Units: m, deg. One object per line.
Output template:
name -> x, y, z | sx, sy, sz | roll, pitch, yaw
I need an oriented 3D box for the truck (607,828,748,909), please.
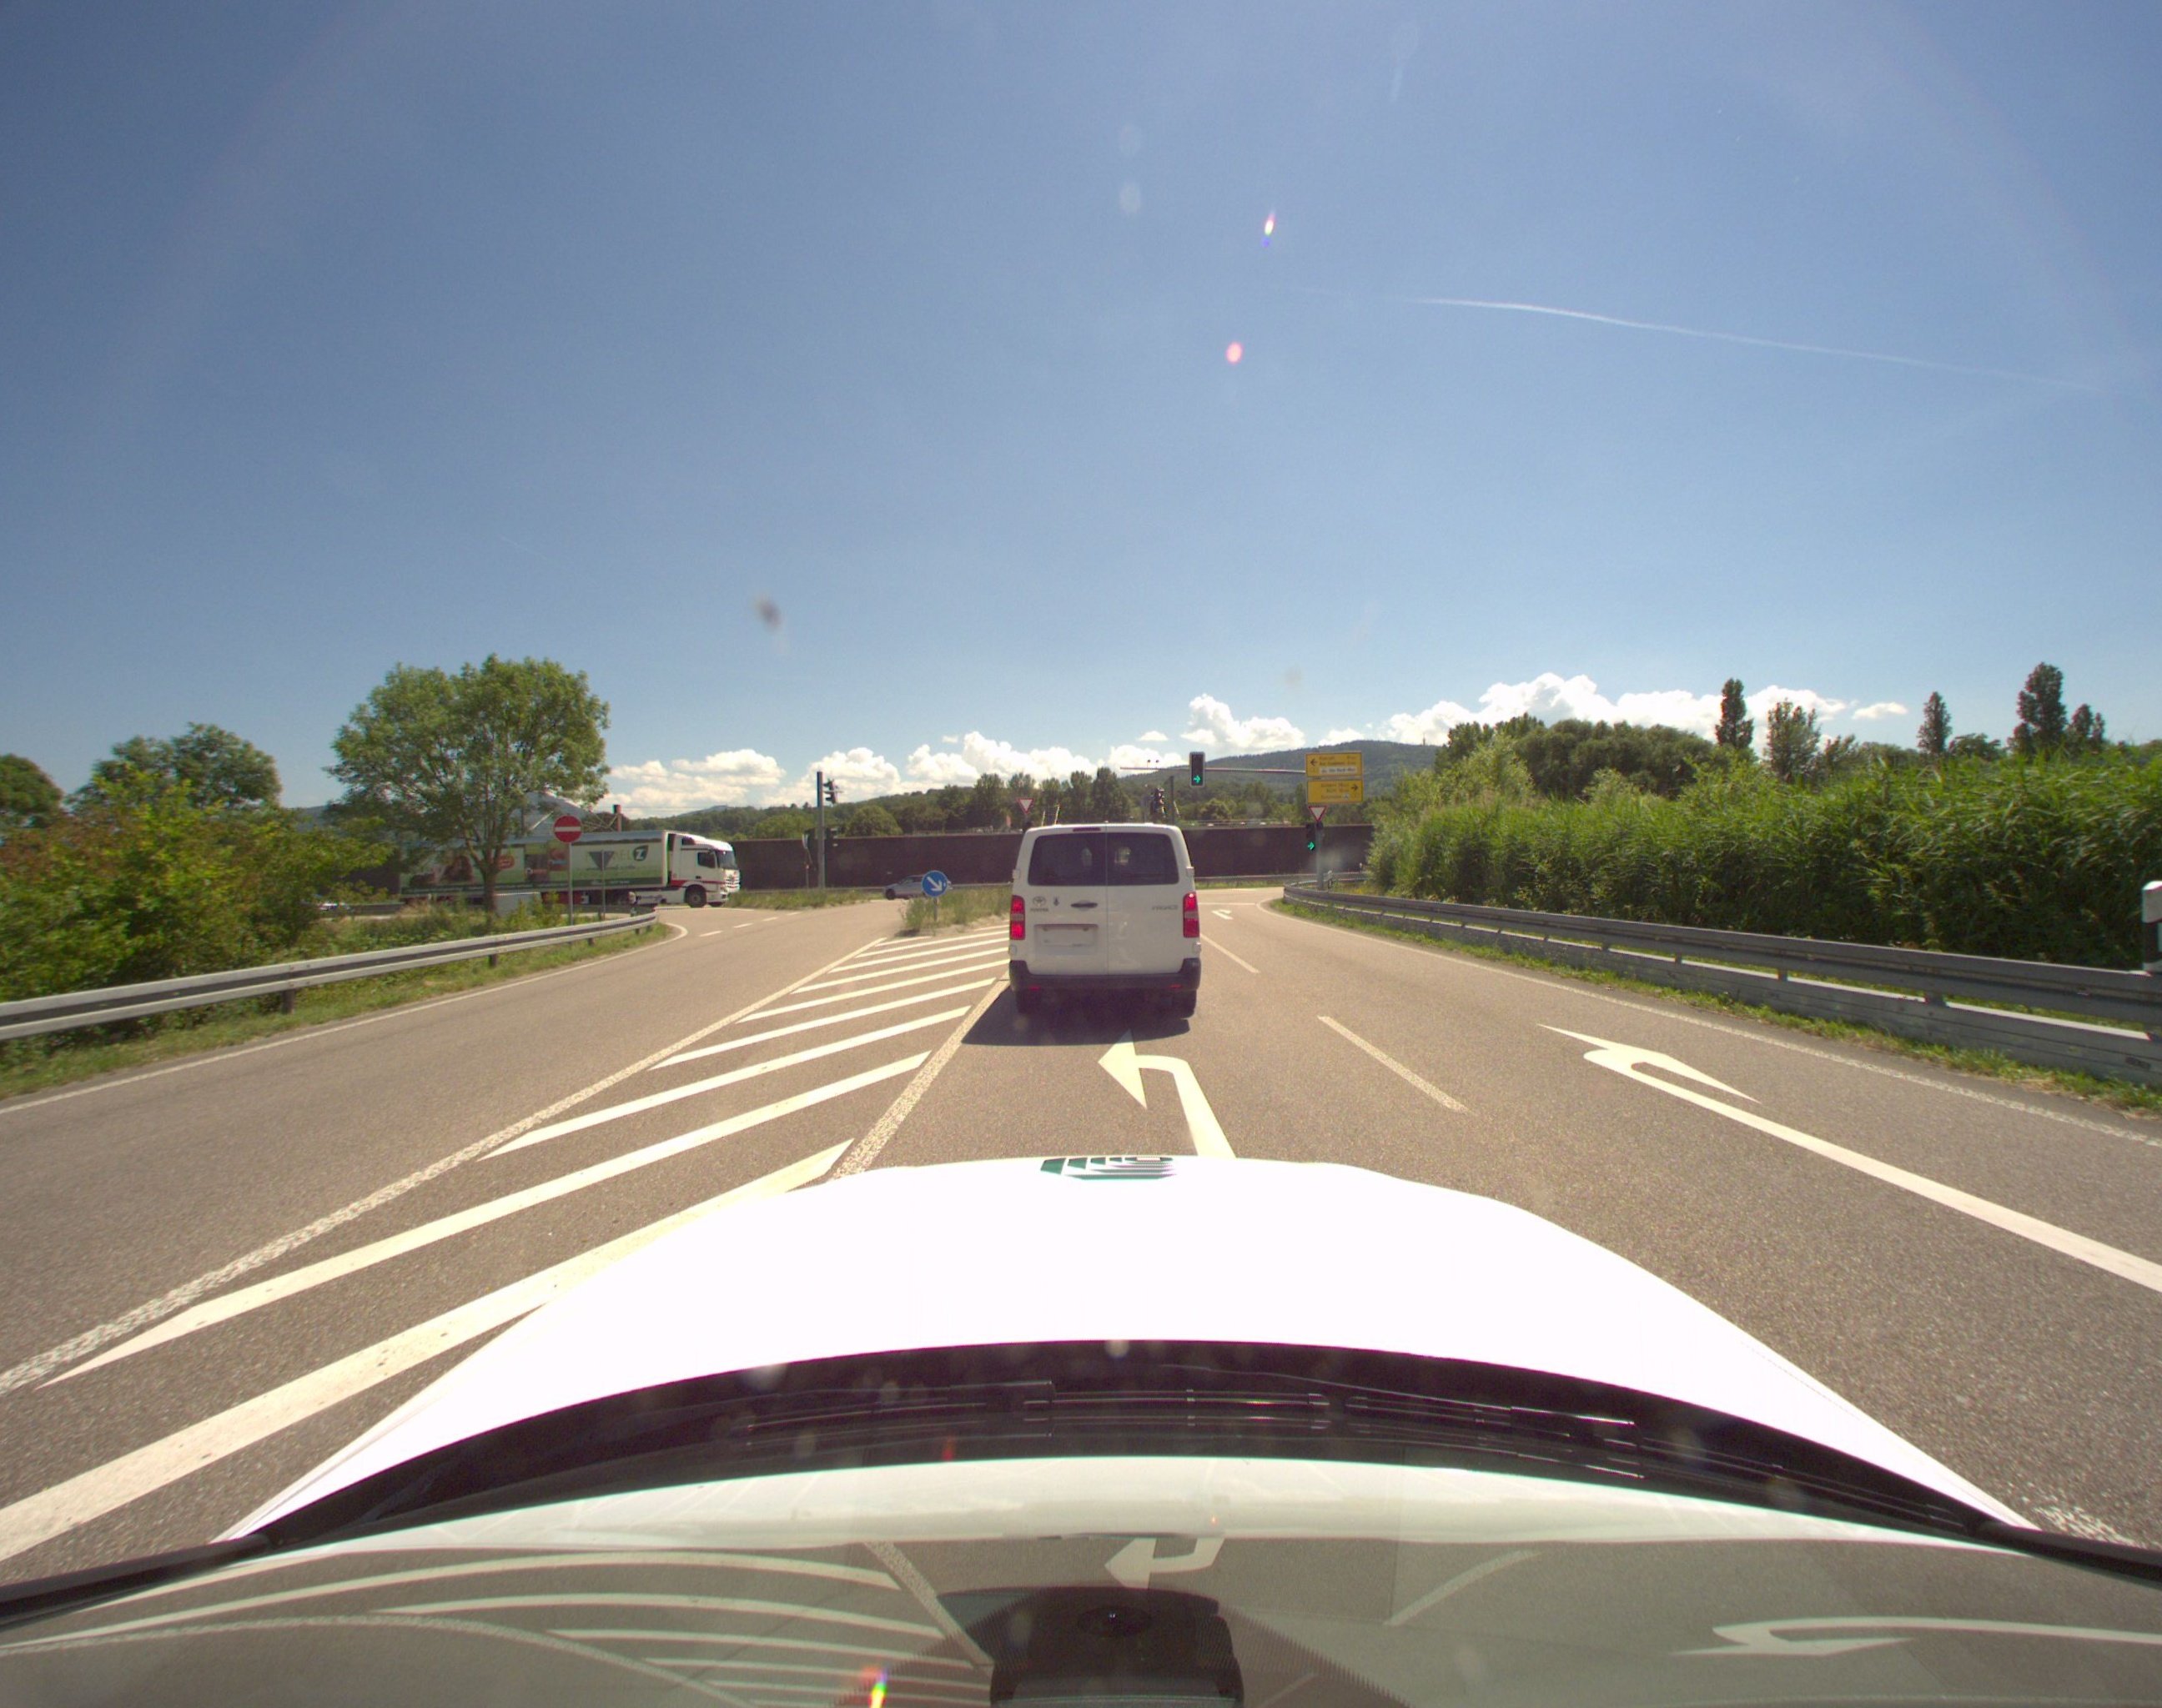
truck -> -20.966, 0.752, 42.585 | 5.746, 3.954, 3.062 | -1, -1, 0

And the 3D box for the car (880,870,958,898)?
car -> -9.318, 1.709, 46.903 | 3.951, 1.552, 2.011 | -1, -1, 23

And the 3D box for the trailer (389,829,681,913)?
trailer -> -28.224, 0.885, 42.530 | 13.098, 3.954, 3.061 | -1, -1, 0

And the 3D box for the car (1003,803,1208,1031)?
car -> 0.277, 0.587, 9.308 | 1.808, 2.018, 4.001 | -1, -1, 2
